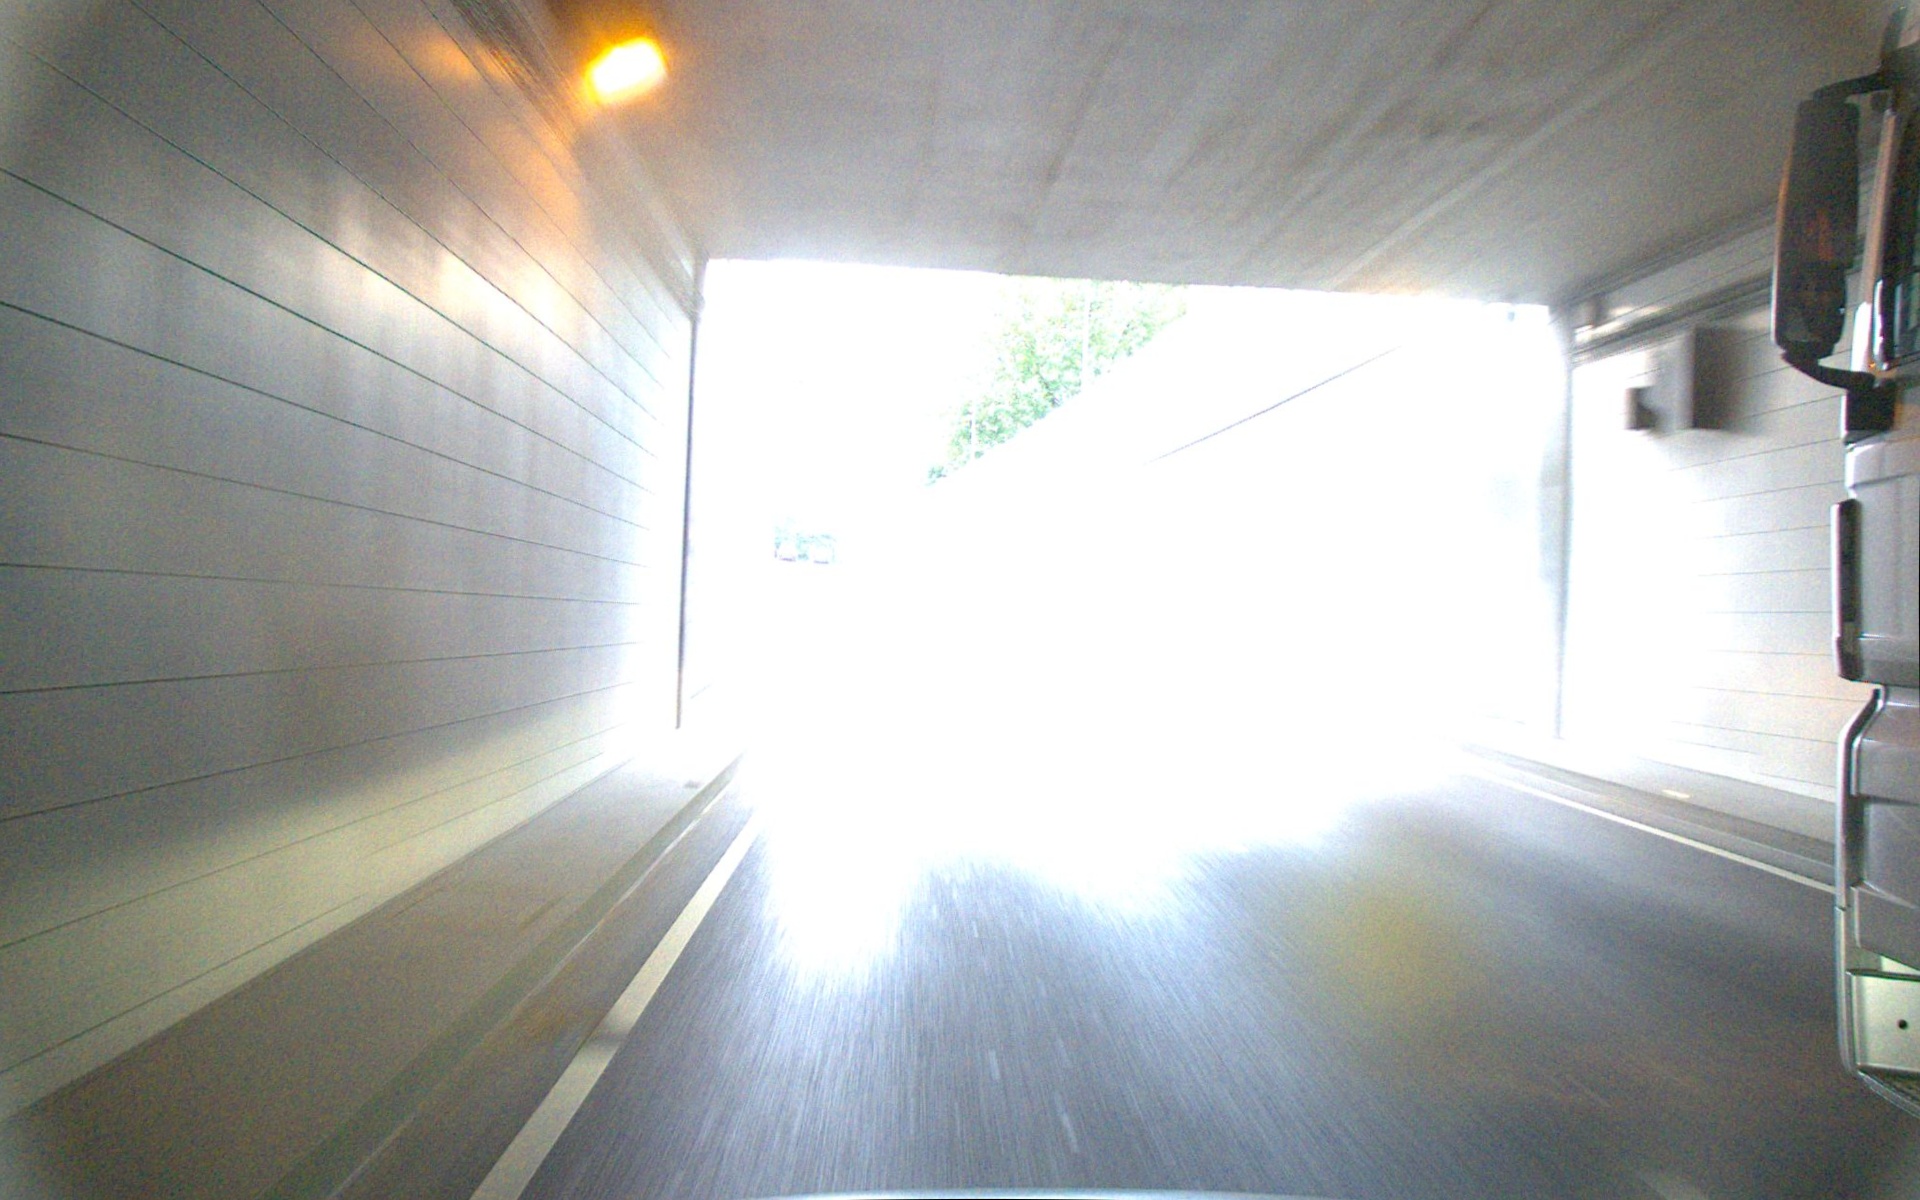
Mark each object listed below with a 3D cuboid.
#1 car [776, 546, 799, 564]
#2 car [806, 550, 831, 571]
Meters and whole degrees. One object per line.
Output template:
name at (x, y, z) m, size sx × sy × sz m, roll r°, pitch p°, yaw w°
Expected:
car at (-15.571, -4.017, 148.854) m, size 1.807 × 1.413 × 3.991 m, roll 2°, pitch -1°, yaw -9°
car at (-13.152, -3.646, 153.269) m, size 1.836 × 1.763 × 3.989 m, roll 2°, pitch -1°, yaw -11°
